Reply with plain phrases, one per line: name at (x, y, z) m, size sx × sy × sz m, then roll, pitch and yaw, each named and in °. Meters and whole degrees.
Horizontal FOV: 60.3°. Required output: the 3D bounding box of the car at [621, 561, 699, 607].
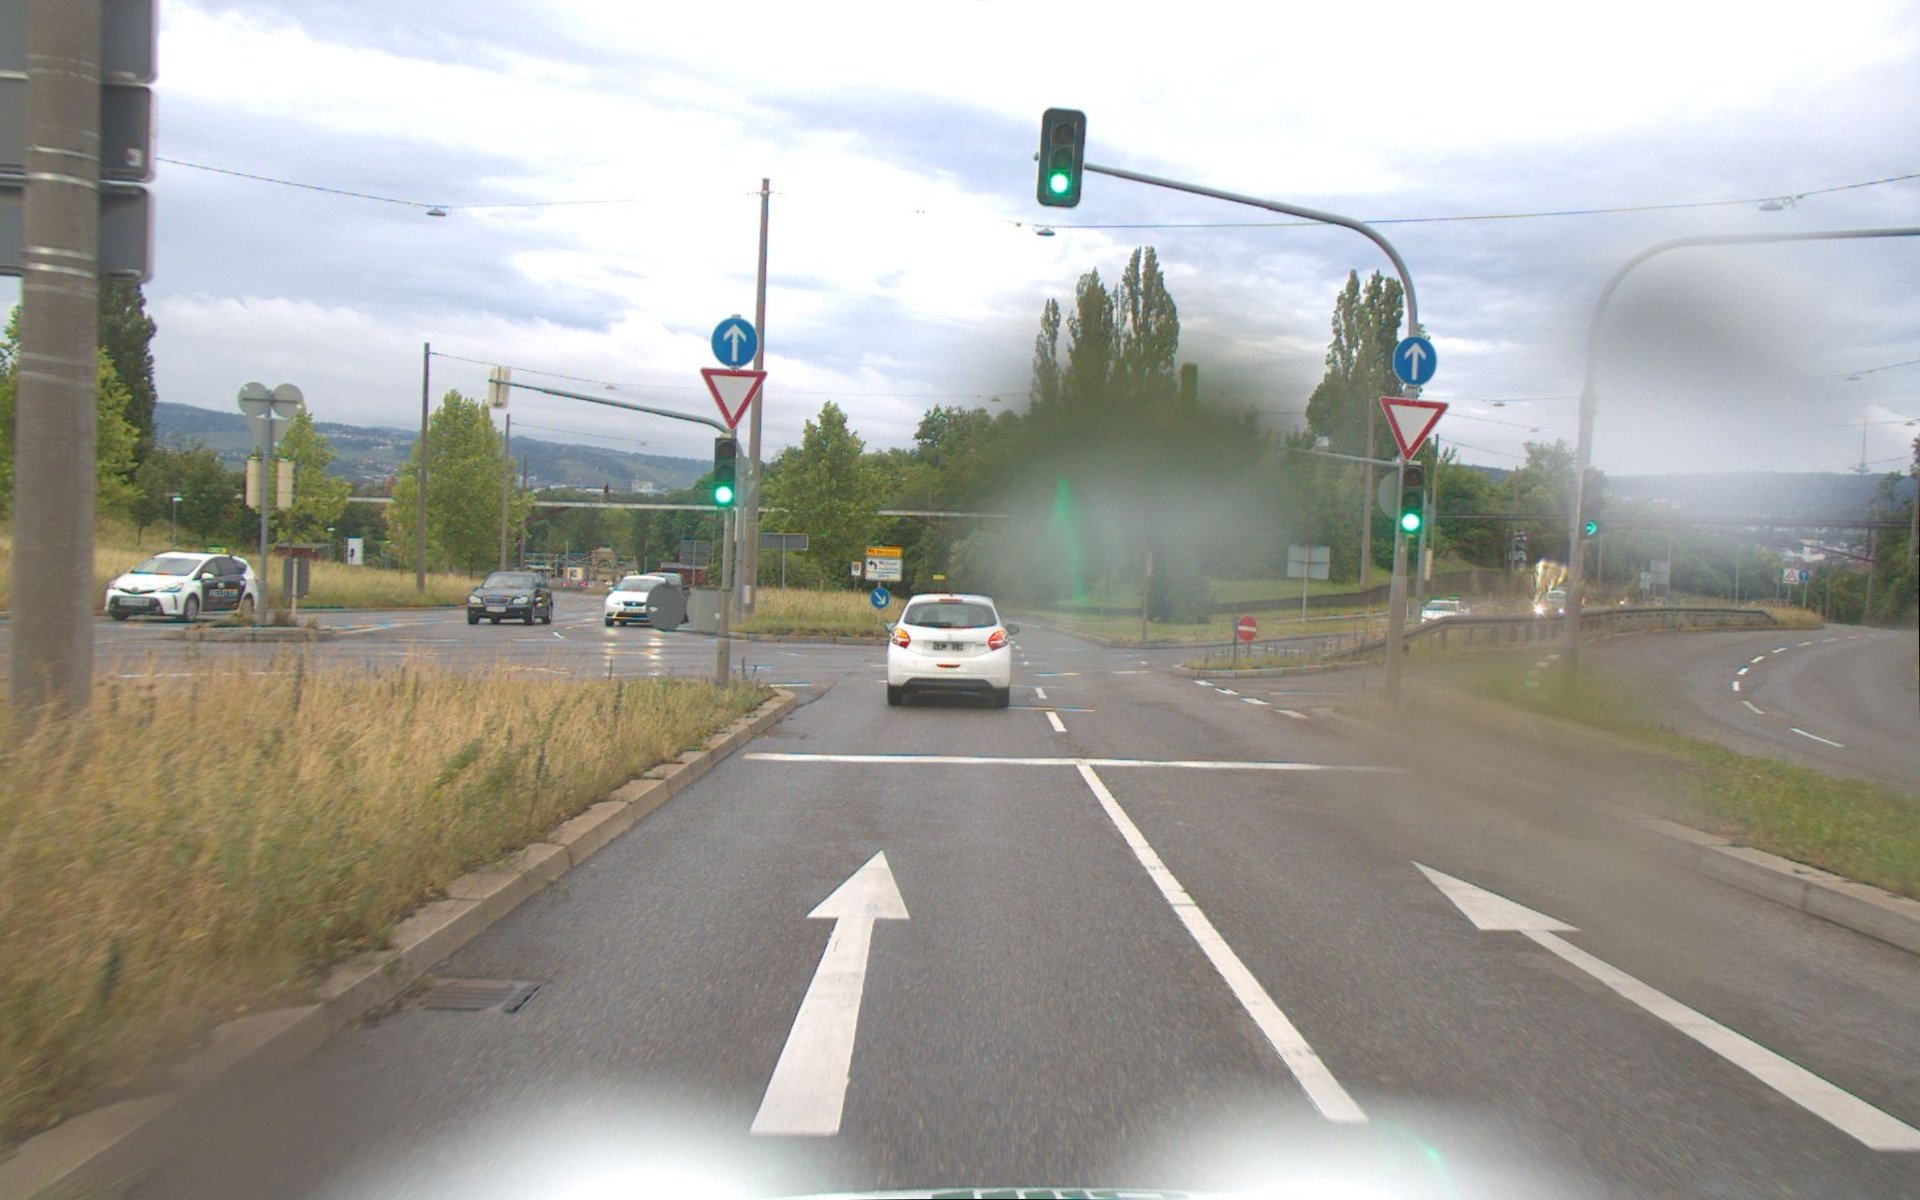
car at (-9.827, -0.556, 54.364) m, size 1.857 × 1.347 × 4.000 m, roll 3°, pitch 2°, yaw -1°

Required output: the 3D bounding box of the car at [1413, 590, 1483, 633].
car at (22.009, 0.488, 74.527) m, size 1.958 × 1.645 × 3.990 m, roll 5°, pitch 4°, yaw 32°

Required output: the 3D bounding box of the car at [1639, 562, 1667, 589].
car at (60.514, -2.135, 144.403) m, size 2.034 × 2.119 × 4.370 m, roll 4°, pitch 4°, yaw 25°

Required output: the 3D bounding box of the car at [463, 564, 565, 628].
car at (-12.026, -0.078, 44.821) m, size 1.858 × 1.564 × 3.996 m, roll 2°, pitch -1°, yaw -4°

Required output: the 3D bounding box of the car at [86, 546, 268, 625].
car at (-18.137, -0.282, 38.589) m, size 1.846 × 1.639 × 4.677 m, roll 3°, pitch -1°, yaw 1°

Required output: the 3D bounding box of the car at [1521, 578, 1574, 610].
car at (34.389, -0.366, 96.760) m, size 1.959 × 1.645 × 4.361 m, roll 5°, pitch 4°, yaw 32°

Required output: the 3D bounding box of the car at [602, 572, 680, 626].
car at (-9.123, -0.009, 47.560) m, size 1.703 × 1.397 × 3.996 m, roll 2°, pitch -1°, yaw -5°

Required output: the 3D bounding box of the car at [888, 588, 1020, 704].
car at (-0.060, 0.609, 23.183) m, size 1.673 × 1.465 × 3.690 m, roll 1°, pitch -1°, yaw 0°
